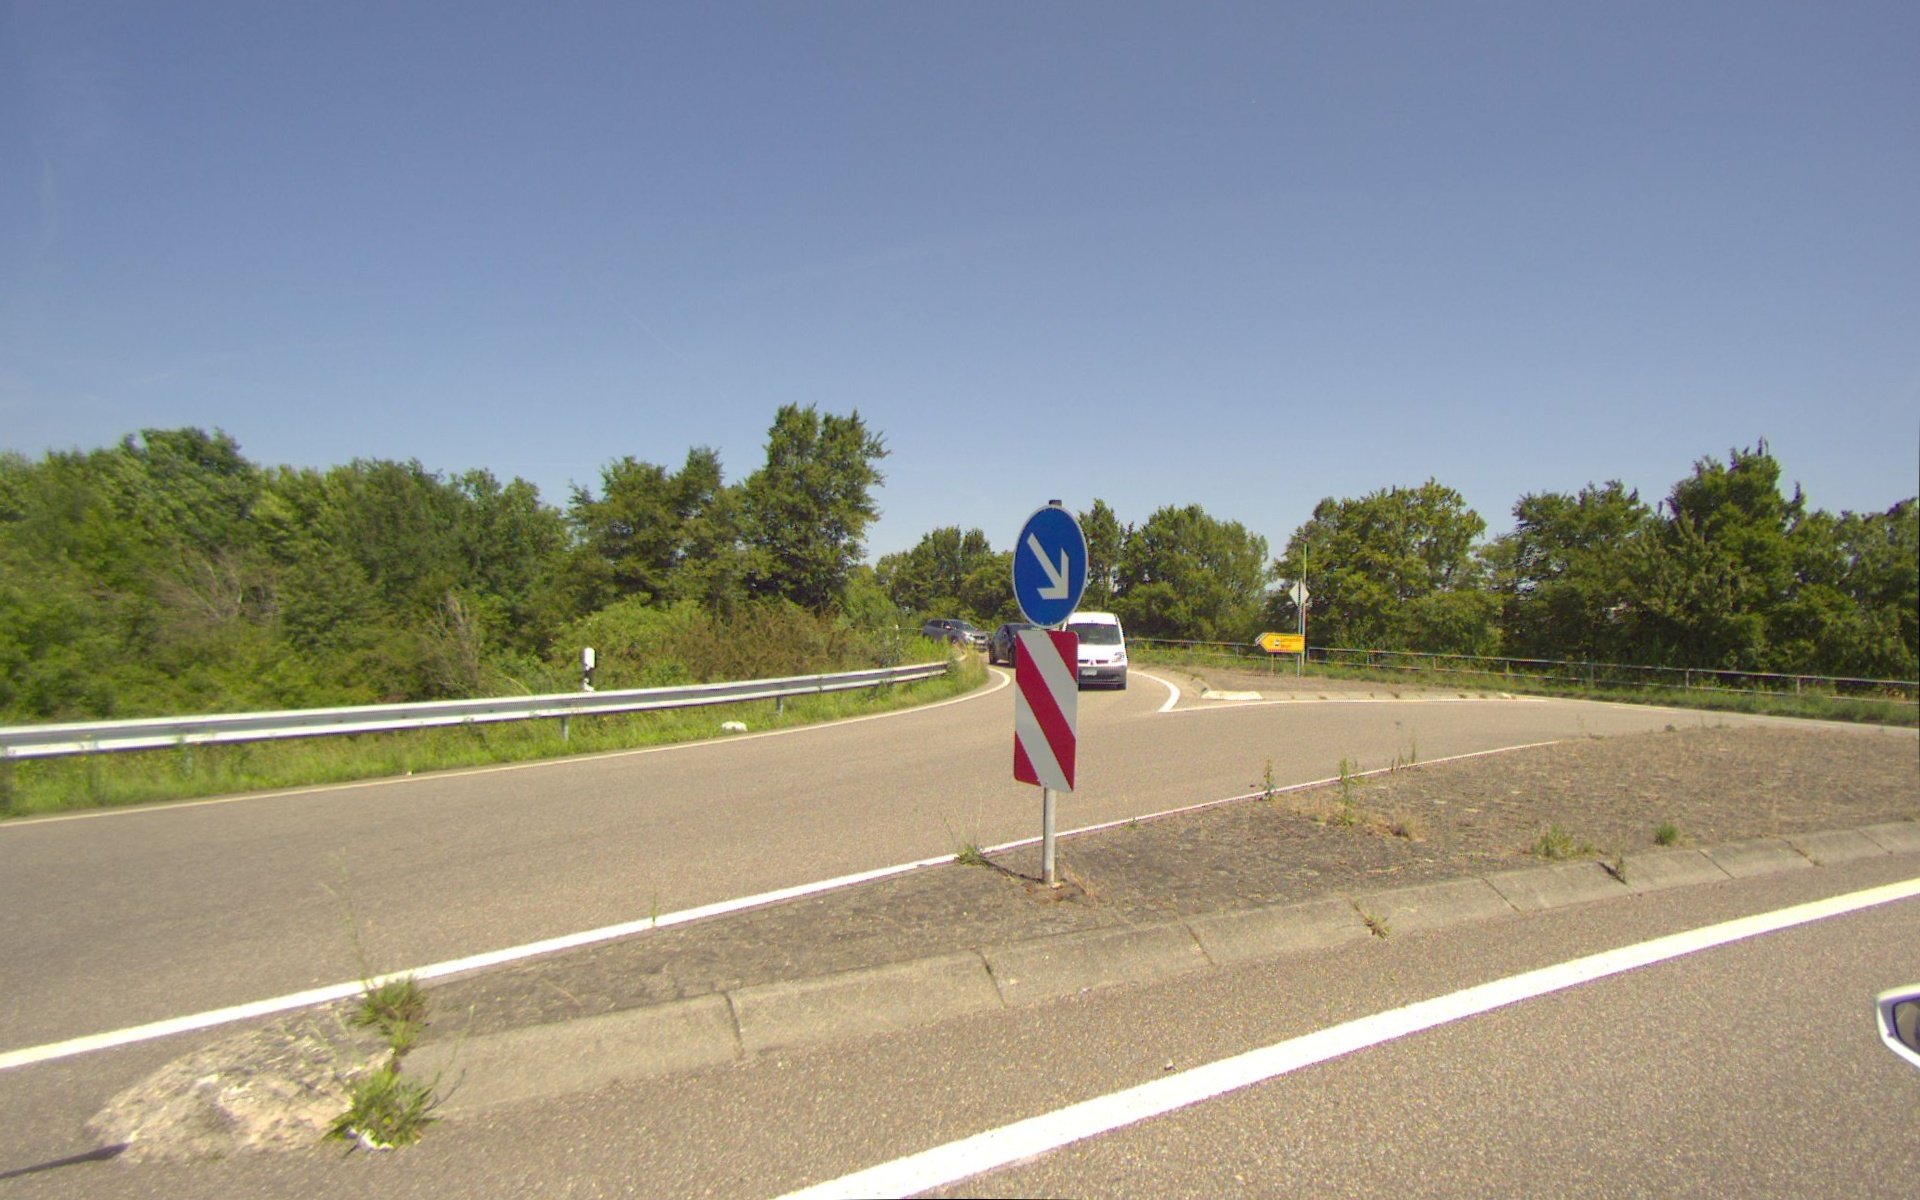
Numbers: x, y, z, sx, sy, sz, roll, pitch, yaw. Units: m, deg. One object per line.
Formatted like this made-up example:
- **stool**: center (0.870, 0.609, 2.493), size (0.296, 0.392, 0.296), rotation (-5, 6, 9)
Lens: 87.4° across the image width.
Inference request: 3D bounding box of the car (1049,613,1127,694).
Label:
- **car**: center (3.129, 1.236, 24.353), size (1.707, 1.784, 4.086), rotation (-1, -1, 8)

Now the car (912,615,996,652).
- **car**: center (-0.359, 1.671, 50.845), size (1.784, 1.604, 4.439), rotation (5, -2, -39)

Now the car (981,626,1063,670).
- **car**: center (2.081, 1.635, 34.675), size (1.685, 1.414, 3.876), rotation (-1, -2, -15)
